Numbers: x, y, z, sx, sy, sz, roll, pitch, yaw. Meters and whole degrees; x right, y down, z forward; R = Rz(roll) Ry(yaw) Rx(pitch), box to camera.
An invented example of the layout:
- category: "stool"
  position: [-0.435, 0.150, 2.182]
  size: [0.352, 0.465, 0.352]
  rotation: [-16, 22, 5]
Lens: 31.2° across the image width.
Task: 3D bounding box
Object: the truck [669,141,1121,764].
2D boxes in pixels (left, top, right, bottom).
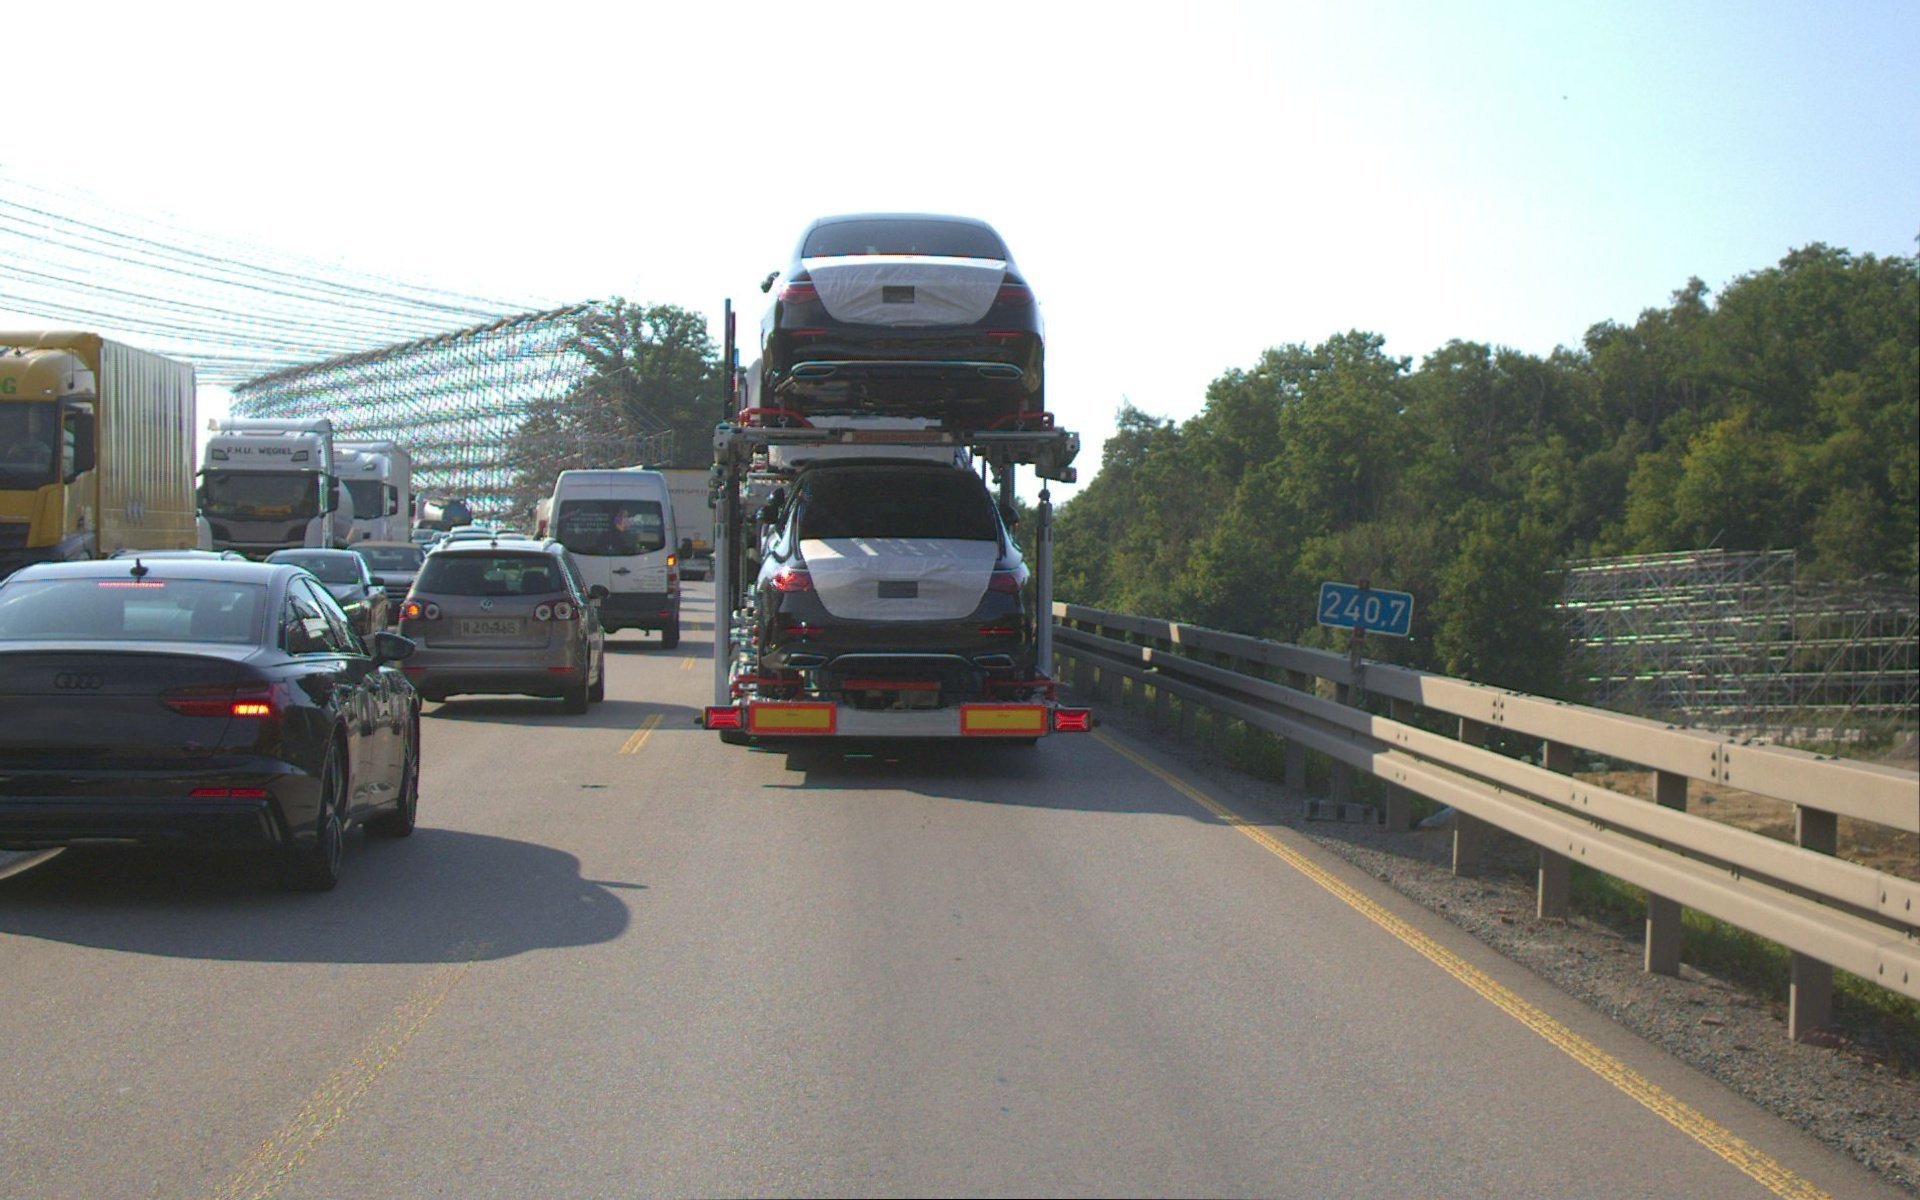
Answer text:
- category: "truck"
  position: [-0.429, -0.940, 24.758]
  size: [2.870, 3.966, 5.771]
  rotation: [0, 0, 0]

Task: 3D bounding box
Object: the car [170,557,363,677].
- category: "car"
  position: [-8.772, 0.204, 43.813]
  size: [1.797, 1.448, 4.616]
  rotation: [0, 0, -3]

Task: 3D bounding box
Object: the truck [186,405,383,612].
- category: "truck"
  position: [-14.198, -1.760, 73.319]
  size: [2.808, 3.956, 13.896]
  rotation: [1, 0, -6]

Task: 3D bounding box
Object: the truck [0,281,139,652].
- category: "truck"
  position: [-11.490, -1.503, 40.824]
  size: [2.693, 4.182, 4.399]
  rotation: [0, 0, -4]

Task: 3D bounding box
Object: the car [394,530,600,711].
- category: "car"
  position: [-4.264, 0.177, 32.142]
  size: [1.700, 1.581, 4.147]
  rotation: [0, 0, -5]

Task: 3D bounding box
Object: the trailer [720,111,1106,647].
- category: "trailer"
  position: [-0.853, -1.645, 33.227]
  size: [2.874, 3.980, 15.281]
  rotation: [0, 0, -4]

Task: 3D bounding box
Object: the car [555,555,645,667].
- category: "car"
  position: [-6.854, 0.202, 65.750]
  size: [1.528, 2.007, 4.001]
  rotation: [2, 0, -4]

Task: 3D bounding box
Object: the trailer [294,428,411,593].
- category: "trailer"
  position: [-16.710, -2.332, 95.215]
  size: [2.452, 4.251, 12.148]
  rotation: [0, 0, -6]

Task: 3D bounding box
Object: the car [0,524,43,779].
- category: "car"
  position: [-7.311, 0.345, 21.781]
  size: [1.927, 1.696, 4.692]
  rotation: [0, 0, -2]

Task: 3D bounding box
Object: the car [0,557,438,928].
- category: "car"
  position: [-3.731, 0.561, 16.419]
  size: [1.940, 1.475, 5.222]
  rotation: [-1, 0, -3]

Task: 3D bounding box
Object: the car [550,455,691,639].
- category: "car"
  position: [-5.101, -0.772, 52.071]
  size: [1.979, 2.675, 4.147]
  rotation: [0, 0, -4]

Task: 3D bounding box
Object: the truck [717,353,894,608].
- category: "truck"
  position: [-3.227, -2.349, 69.077]
  size: [3.228, 4.661, 11.697]
  rotation: [0, 1, -4]

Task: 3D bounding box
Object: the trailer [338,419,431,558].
- category: "trailer"
  position: [-19.884, -3.731, 119.414]
  size: [2.893, 4.378, 14.383]
  rotation: [0, 0, -8]

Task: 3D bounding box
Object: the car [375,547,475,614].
- category: "car"
  position: [-11.578, -0.411, 74.660]
  size: [1.739, 1.397, 4.903]
  rotation: [0, 0, -4]

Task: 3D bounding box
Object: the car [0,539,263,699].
- category: "car"
  position: [-8.254, 0.178, 34.403]
  size: [1.788, 1.492, 4.725]
  rotation: [0, 0, -2]

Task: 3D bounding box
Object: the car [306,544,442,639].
- category: "car"
  position: [-9.584, -0.133, 56.504]
  size: [1.716, 1.503, 4.292]
  rotation: [0, 0, -3]

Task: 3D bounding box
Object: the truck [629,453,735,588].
- category: "truck"
  position: [-10.101, -2.933, 125.814]
  size: [3.648, 4.661, 11.697]
  rotation: [0, 1, -4]

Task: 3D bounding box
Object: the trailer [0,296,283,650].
- category: "trailer"
  position: [-12.016, -1.510, 48.731]
  size: [2.701, 4.189, 15.999]
  rotation: [0, 0, -4]

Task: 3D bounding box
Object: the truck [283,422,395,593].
- category: "truck"
  position: [-16.048, -2.320, 89.138]
  size: [2.443, 4.257, 6.323]
  rotation: [0, 0, -6]
